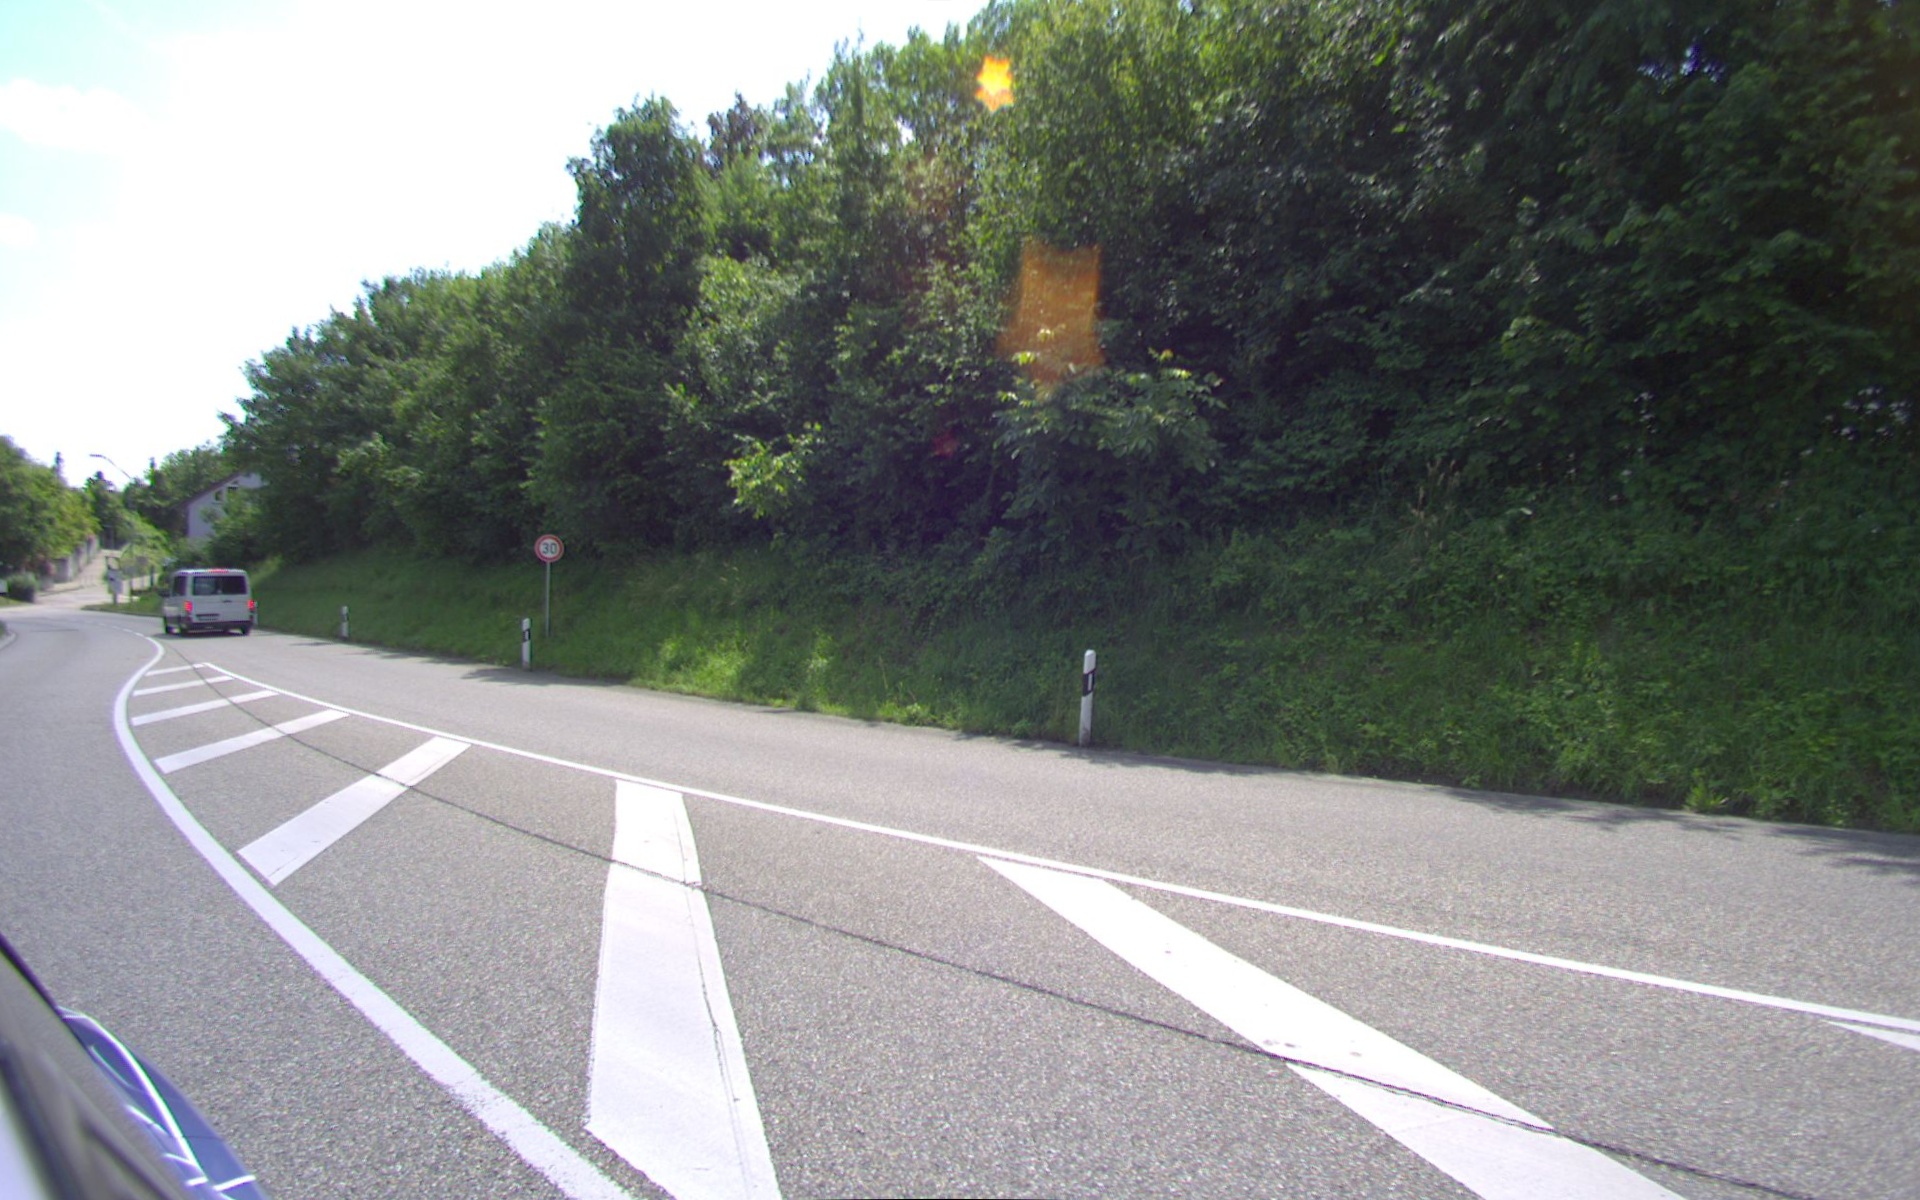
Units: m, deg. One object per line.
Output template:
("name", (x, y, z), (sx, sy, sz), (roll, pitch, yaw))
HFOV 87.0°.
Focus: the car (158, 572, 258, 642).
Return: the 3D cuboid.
("car", (-27.240, 0.316, 36.556), (2.062, 2.308, 5.950), (1, -2, -45))
